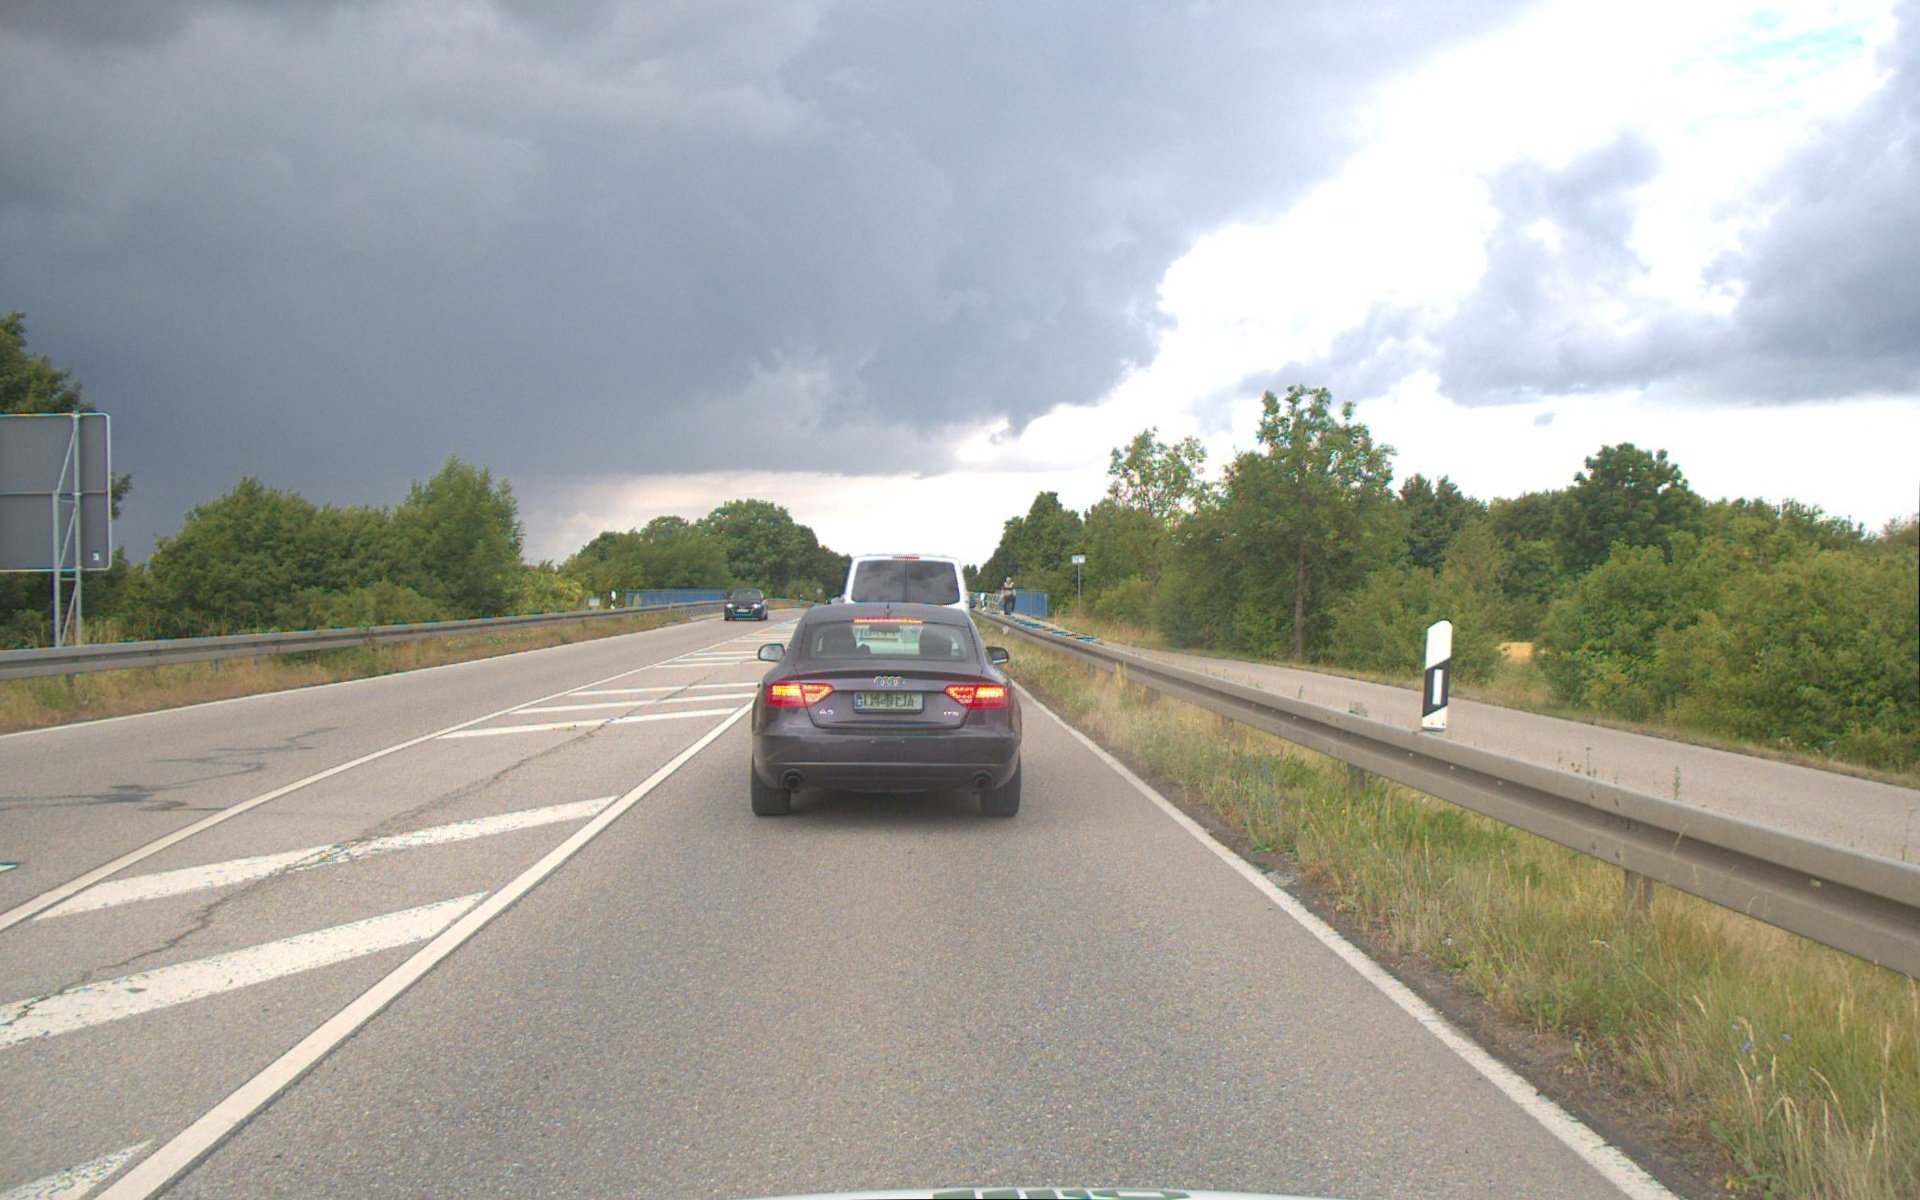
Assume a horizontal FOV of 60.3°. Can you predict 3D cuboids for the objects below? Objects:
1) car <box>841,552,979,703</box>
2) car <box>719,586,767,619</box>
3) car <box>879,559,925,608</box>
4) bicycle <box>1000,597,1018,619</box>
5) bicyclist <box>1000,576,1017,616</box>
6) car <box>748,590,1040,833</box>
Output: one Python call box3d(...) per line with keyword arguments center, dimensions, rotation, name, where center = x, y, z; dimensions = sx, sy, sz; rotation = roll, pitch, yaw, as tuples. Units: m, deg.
box3d(center=(-0.716, 0.362, 23.343), dimensions=(1.750, 1.923, 3.998), rotation=(1, 0, -2), name="car")
box3d(center=(-9.738, 0.093, 74.552), dimensions=(1.825, 1.400, 3.998), rotation=(0, 1, -3), name="car")
box3d(center=(-3.140, -0.887, 89.956), dimensions=(2.398, 2.548, 5.039), rotation=(1, 0, -2), name="car")
box3d(center=(2.077, 0.330, 70.284), dimensions=(0.652, 0.936, 1.829), rotation=(0, 0, -2), name="bicycle")
box3d(center=(2.067, -0.184, 70.329), dimensions=(0.634, 1.674, 0.866), rotation=(0, 0, -2), name="bicyclist")
box3d(center=(-0.472, 0.685, 12.031), dimensions=(1.750, 1.448, 3.998), rotation=(1, 0, -2), name="car")
